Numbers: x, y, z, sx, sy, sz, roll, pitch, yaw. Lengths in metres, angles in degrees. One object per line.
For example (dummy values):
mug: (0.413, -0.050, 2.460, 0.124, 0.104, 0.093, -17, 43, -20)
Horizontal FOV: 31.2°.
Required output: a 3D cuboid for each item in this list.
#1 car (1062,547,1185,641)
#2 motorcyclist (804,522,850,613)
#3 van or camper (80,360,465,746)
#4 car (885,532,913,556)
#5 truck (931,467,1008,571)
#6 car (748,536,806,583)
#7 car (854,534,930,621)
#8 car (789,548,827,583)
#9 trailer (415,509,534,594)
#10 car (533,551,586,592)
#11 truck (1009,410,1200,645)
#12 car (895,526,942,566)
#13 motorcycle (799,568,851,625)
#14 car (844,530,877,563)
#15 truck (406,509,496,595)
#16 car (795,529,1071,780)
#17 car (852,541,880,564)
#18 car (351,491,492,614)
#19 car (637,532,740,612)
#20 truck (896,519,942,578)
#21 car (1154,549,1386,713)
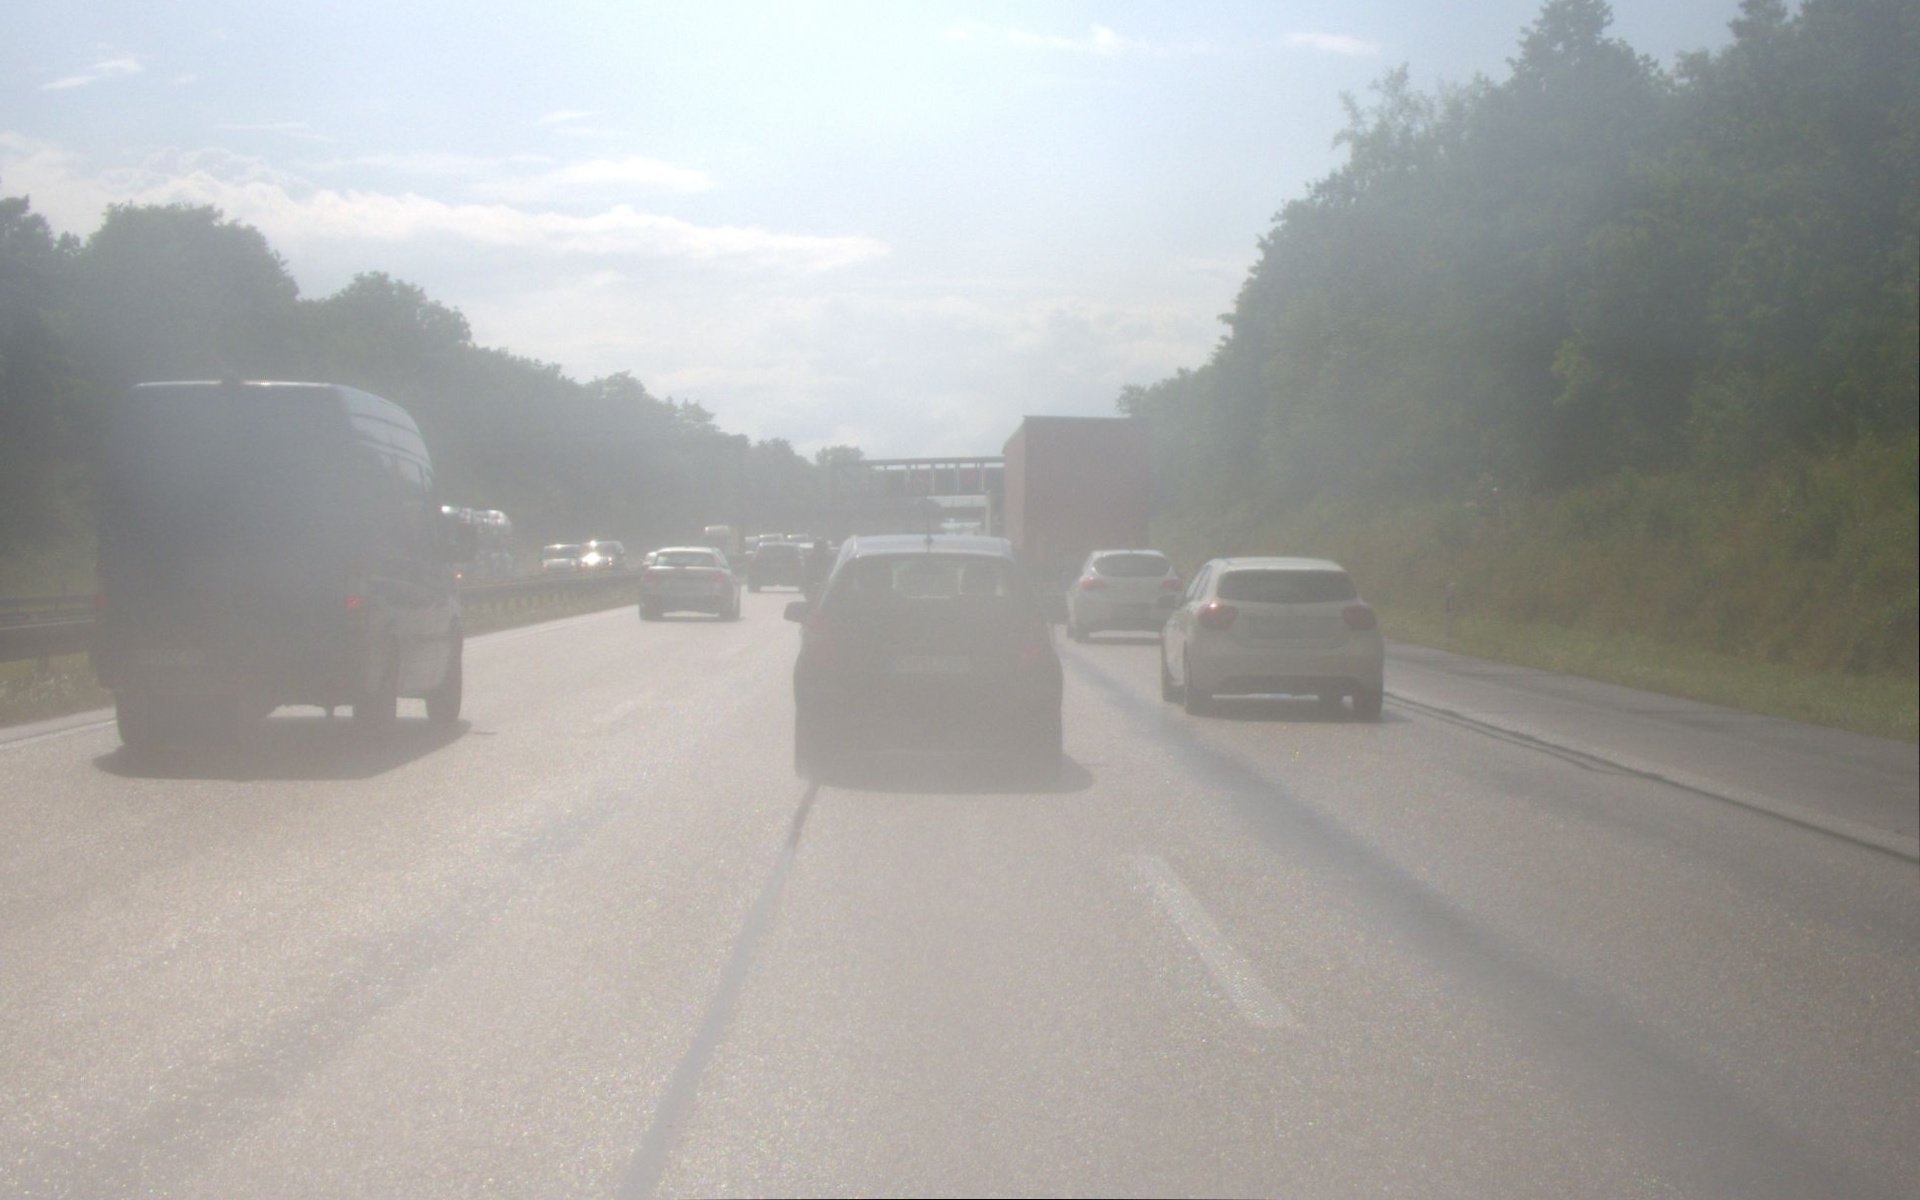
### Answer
car: (2.593, -0.111, 55.320, 1.680, 1.437, 3.905, 1, 1, -1)
motorcyclist: (-2.421, -0.593, 62.494, 0.801, 1.627, 1.013, 1, 1, -1)
van or camper: (-5.165, -0.359, 26.581, 1.993, 2.659, 5.385, 1, 1, -1)
car: (-4.535, -4.172, 256.659, 1.993, 1.722, 4.000, 0, 1, 0)
truck: (0.430, -3.559, 153.925, 3.256, 4.464, 12.421, 1, 1, 0)
car: (-5.923, -1.319, 111.530, 1.751, 1.452, 3.390, 1, 1, -1)
car: (-1.425, -0.473, 71.489, 1.531, 1.740, 3.485, 1, 1, -1)
car: (-6.110, -1.405, 138.753, 1.460, 1.389, 3.312, 1, 1, -1)
trailer: (-23.387, -2.329, 166.620, 2.990, 3.818, 17.952, 1, 1, 1)
car: (-19.411, -1.378, 166.694, 1.868, 1.939, 5.041, 1, 1, 1)
truck: (3.027, -1.570, 77.755, 3.650, 4.704, 16.779, 1, 1, 0)
car: (-1.461, -1.878, 119.937, 1.552, 1.378, 3.210, 1, 1, -1)
motorcycle: (-2.445, -0.077, 62.544, 0.890, 0.997, 2.896, 1, 1, -1)
car: (-6.125, -3.298, 212.621, 1.993, 2.007, 4.000, -1, 1, -1)
truck: (-23.437, -2.229, 158.651, 2.990, 3.818, 6.864, 1, 1, 1)
car: (-0.213, 0.324, 23.461, 1.717, 1.562, 3.485, 1, 1, -1)
car: (-5.208, -2.646, 190.559, 1.549, 1.262, 3.485, 1, 1, -2)
car: (-11.259, -0.998, 72.251, 2.183, 2.444, 5.748, 1, 1, -1)
car: (-5.460, -0.568, 69.448, 1.854, 1.546, 3.485, 1, 1, -1)
truck: (-2.071, -2.567, 172.340, 2.192, 2.865, 4.850, 1, 1, -1)
car: (2.856, 0.247, 32.443, 1.692, 1.420, 4.220, 1, 1, -1)
